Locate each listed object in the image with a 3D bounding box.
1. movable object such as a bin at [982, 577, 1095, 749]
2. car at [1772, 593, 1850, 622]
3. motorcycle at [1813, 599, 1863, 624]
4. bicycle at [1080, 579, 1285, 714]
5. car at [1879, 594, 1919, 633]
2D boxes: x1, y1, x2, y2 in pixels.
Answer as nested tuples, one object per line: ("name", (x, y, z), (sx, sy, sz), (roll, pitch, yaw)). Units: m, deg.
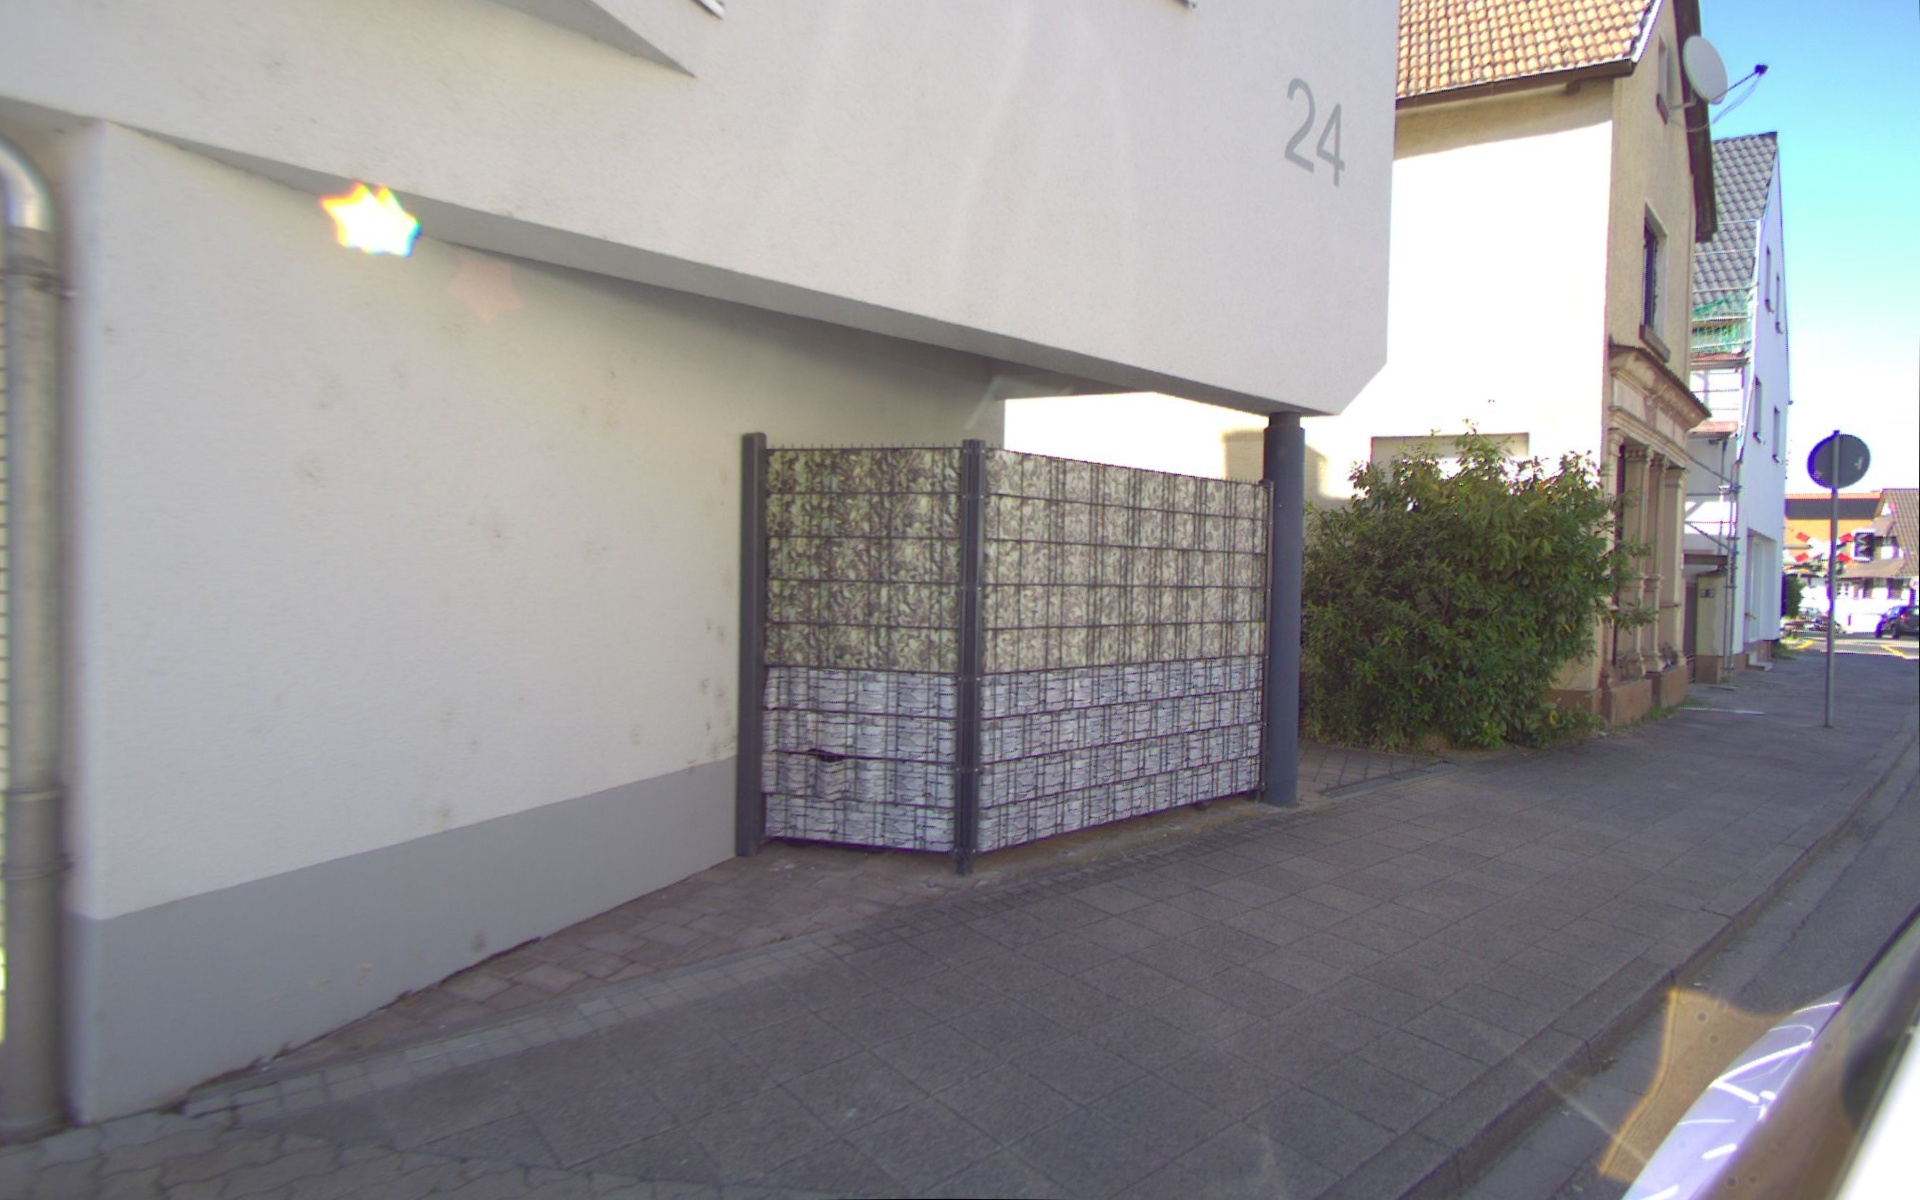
("movable object such as a bin", (0.576, 0.431, 7.376), (0.596, 1.142, 0.580), (4, 4, 30))
("car", (49.432, 0.416, 58.908), (1.829, 1.423, 5.002), (3, 3, 21))
("motorcycle", (48.204, 0.639, 55.581), (0.614, 1.247, 1.999), (2, 1, -24))
("bicycle", (2.091, 0.406, 9.609), (1.780, 1.091, 0.699), (4, 3, 14))
("car", (41.480, 0.545, 43.672), (1.674, 1.529, 3.624), (-1, 1, 25))
